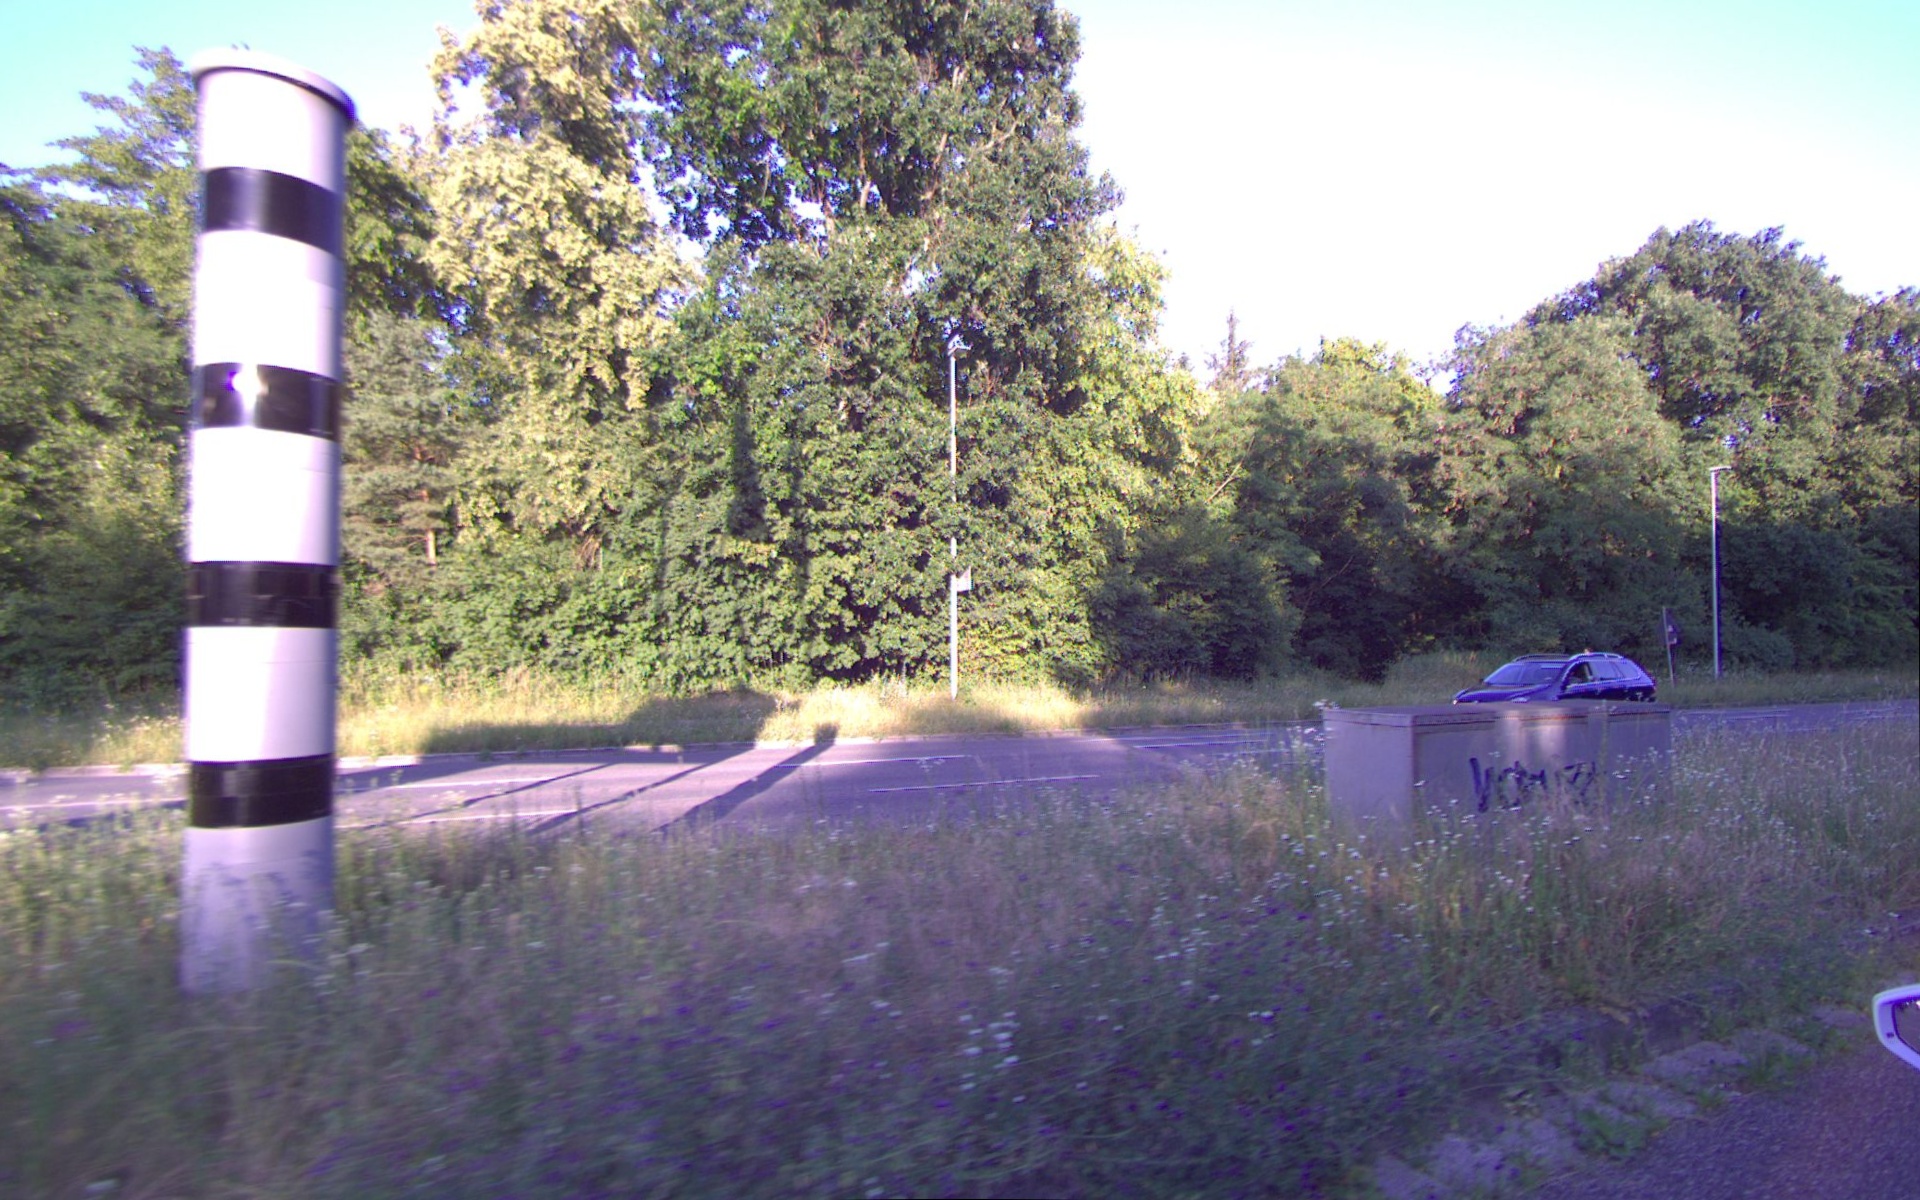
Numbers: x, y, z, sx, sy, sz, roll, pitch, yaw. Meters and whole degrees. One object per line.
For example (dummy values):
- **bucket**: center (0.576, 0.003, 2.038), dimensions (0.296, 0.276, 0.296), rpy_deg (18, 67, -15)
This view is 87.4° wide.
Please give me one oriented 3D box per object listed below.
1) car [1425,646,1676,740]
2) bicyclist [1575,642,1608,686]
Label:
- **car**: center (10.875, 1.654, 18.490), dimensions (4.396, 1.553, 1.814), rpy_deg (1, -4, -26)
- **bicyclist**: center (21.379, 2.159, 33.998), dimensions (0.811, 1.448, 0.584), rpy_deg (1, -3, -23)
